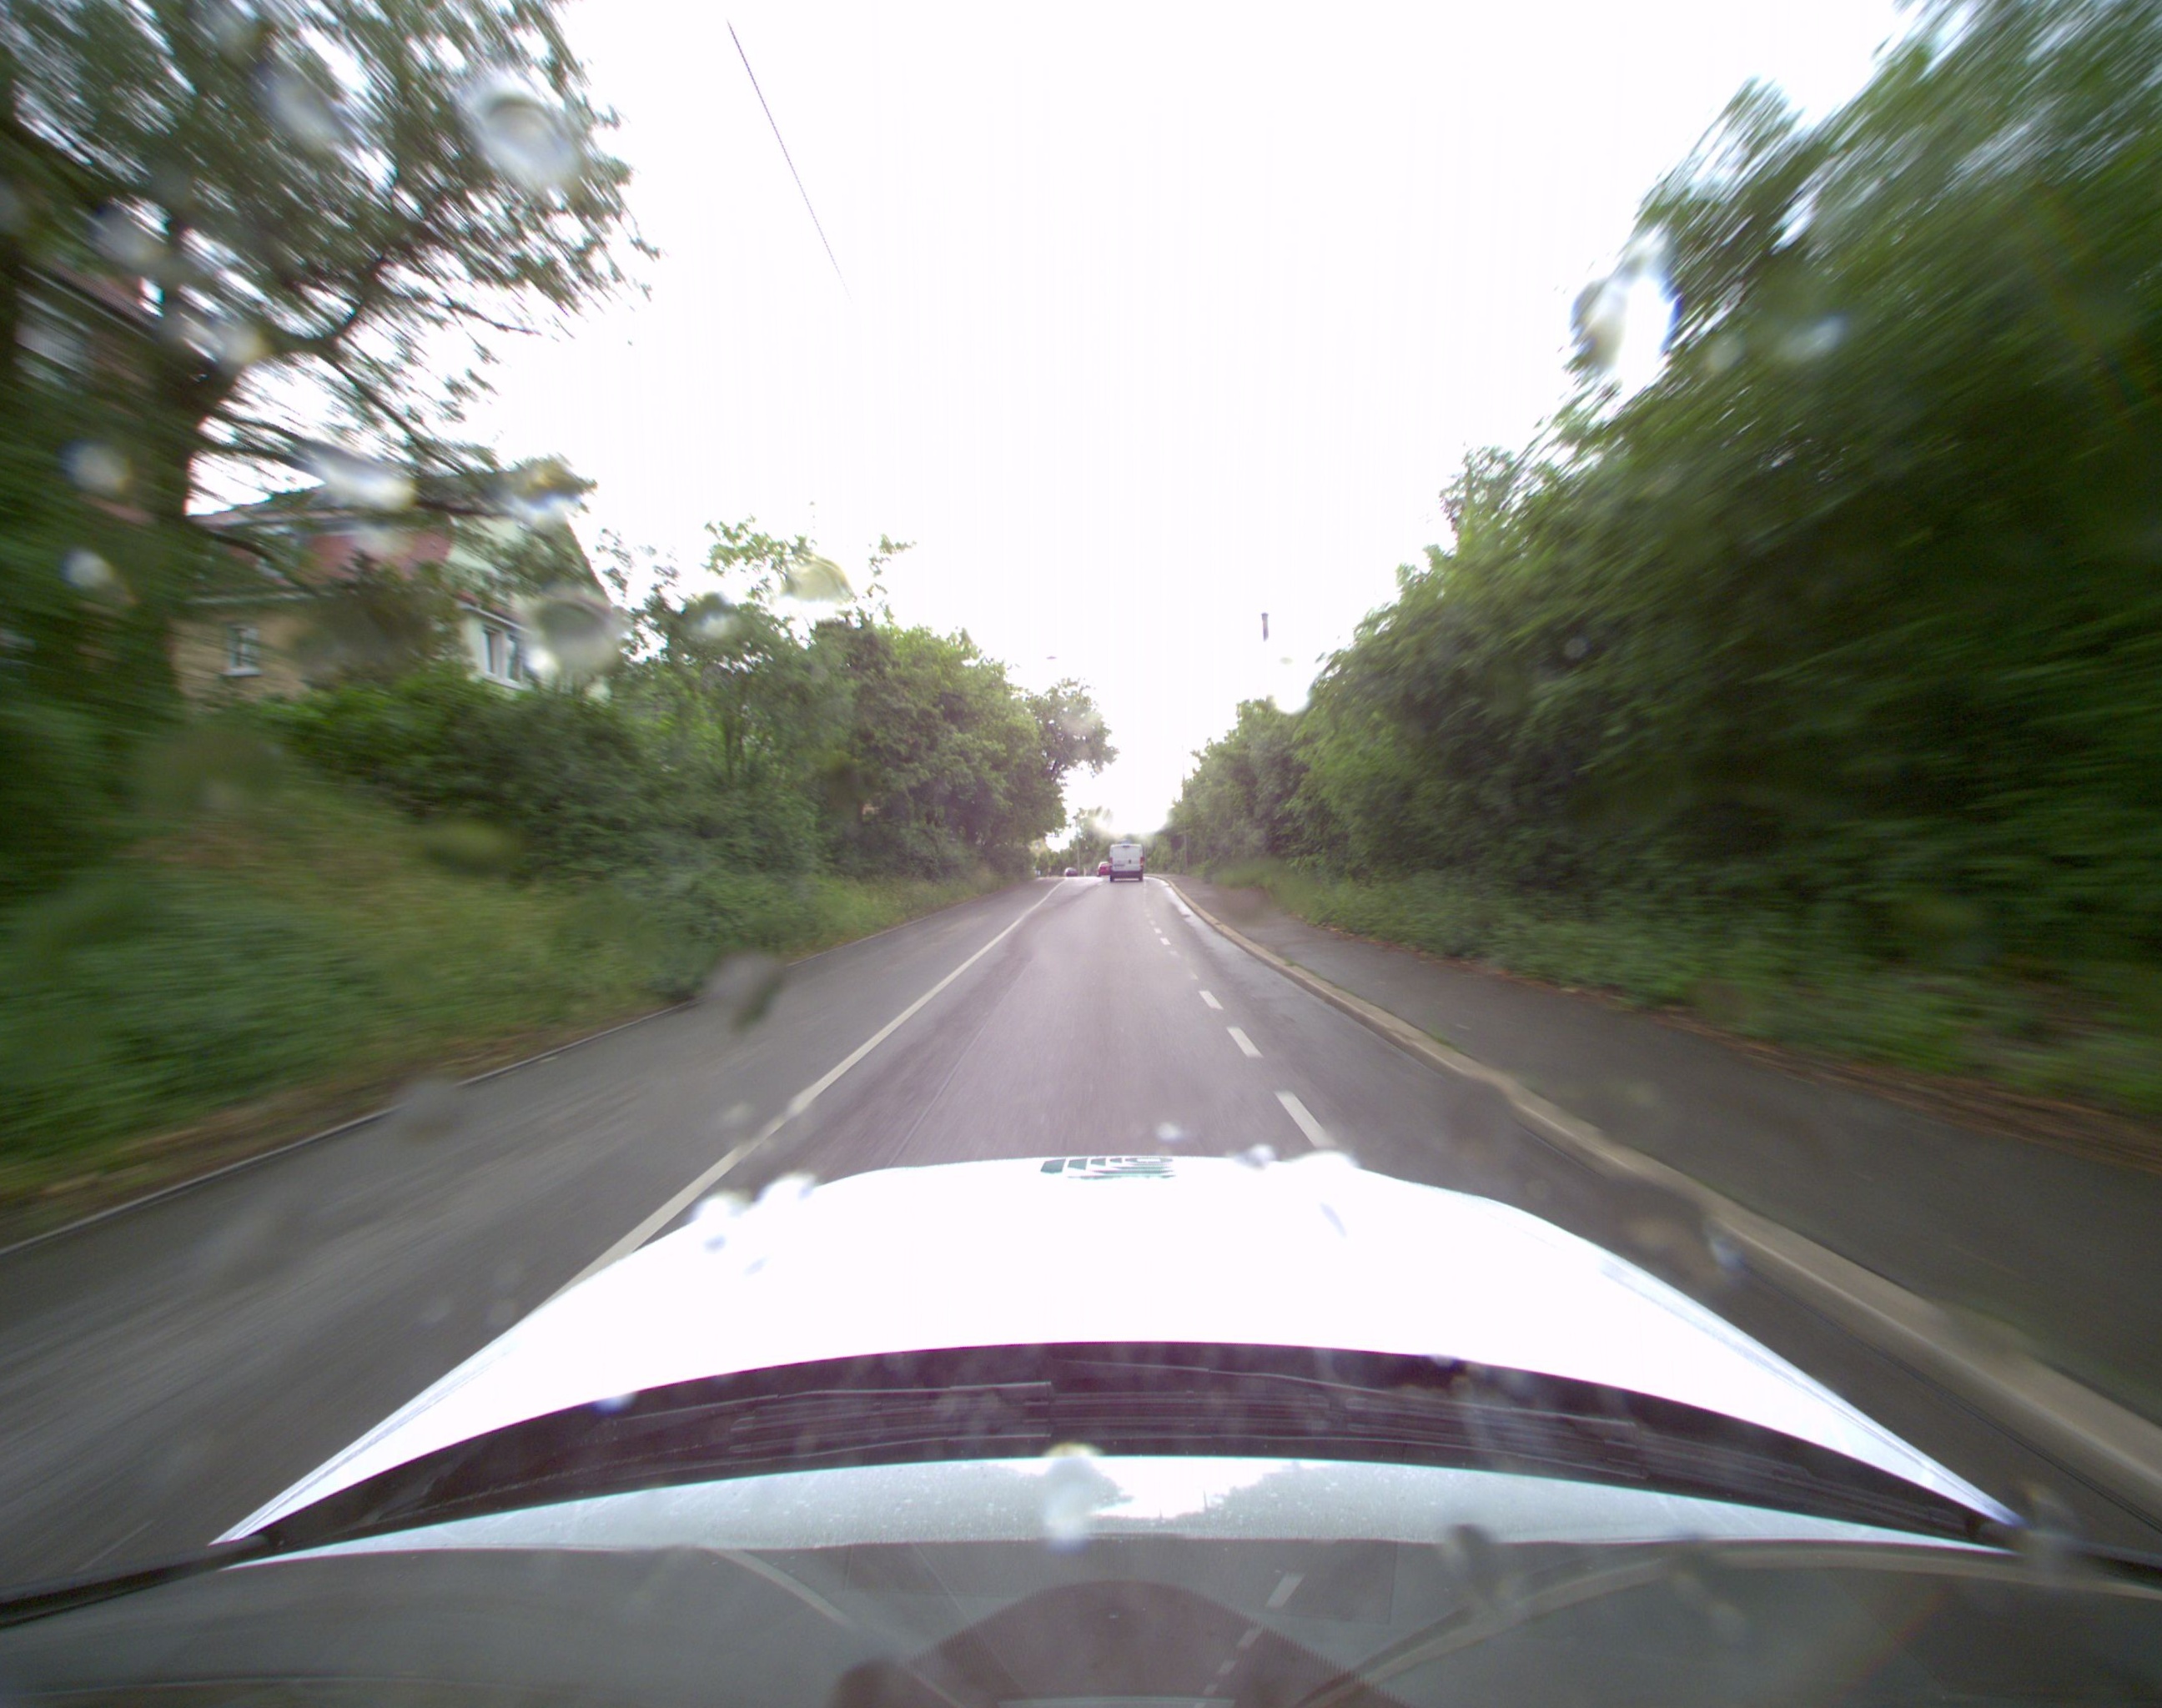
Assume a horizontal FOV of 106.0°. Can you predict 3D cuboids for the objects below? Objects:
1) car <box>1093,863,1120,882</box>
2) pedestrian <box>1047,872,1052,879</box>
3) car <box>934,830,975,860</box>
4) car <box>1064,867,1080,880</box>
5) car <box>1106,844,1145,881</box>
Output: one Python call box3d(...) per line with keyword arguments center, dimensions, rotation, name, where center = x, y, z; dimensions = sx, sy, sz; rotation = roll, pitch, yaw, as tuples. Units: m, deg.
box3d(center=(2.396, 1.731, 77.752), dimensions=(2.232, 1.657, 4.709), rotation=(-1, 0, -2), name="car")
box3d(center=(-6.448, 4.315, 165.131), dimensions=(0.879, 1.367, 1.062), rotation=(-1, -1, -10), name="pedestrian")
box3d(center=(-8.987, -0.584, 58.194), dimensions=(1.985, 2.014, 4.630), rotation=(-1, 0, 3), name="car")
box3d(center=(-1.329, 2.820, 121.004), dimensions=(2.229, 1.804, 4.714), rotation=(-1, 0, 1), name="car")
box3d(center=(2.701, 0.510, 50.832), dimensions=(2.230, 2.213, 4.714), rotation=(-1, 0, 1), name="car")
